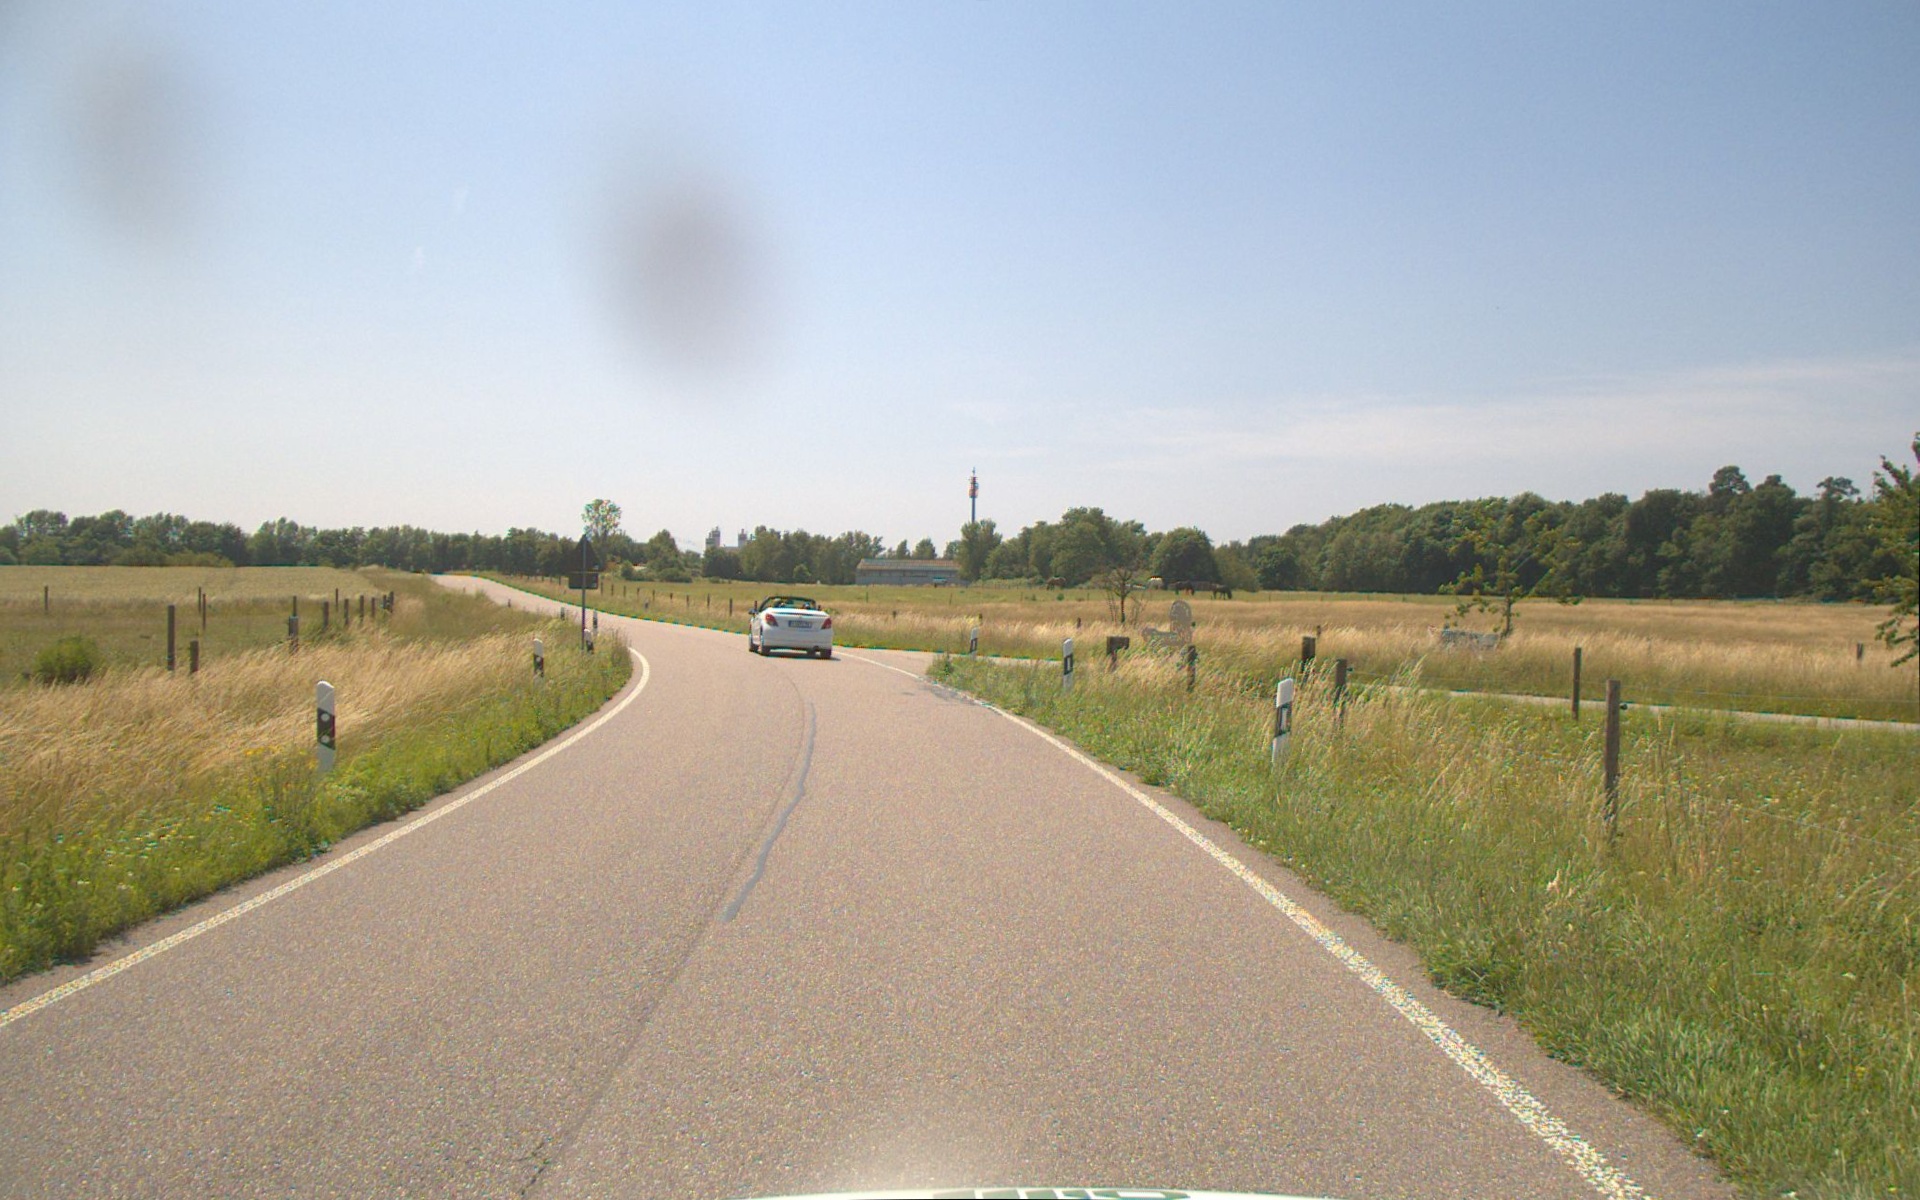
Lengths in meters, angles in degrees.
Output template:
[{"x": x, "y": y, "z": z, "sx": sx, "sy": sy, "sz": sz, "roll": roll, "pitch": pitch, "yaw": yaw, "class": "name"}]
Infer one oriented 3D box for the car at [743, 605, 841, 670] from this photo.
[{"x": -4.090, "y": 0.890, "z": 39.797, "sx": 1.819, "sy": 1.403, "sz": 3.986, "roll": 3, "pitch": -2, "yaw": -13, "class": "car"}]
